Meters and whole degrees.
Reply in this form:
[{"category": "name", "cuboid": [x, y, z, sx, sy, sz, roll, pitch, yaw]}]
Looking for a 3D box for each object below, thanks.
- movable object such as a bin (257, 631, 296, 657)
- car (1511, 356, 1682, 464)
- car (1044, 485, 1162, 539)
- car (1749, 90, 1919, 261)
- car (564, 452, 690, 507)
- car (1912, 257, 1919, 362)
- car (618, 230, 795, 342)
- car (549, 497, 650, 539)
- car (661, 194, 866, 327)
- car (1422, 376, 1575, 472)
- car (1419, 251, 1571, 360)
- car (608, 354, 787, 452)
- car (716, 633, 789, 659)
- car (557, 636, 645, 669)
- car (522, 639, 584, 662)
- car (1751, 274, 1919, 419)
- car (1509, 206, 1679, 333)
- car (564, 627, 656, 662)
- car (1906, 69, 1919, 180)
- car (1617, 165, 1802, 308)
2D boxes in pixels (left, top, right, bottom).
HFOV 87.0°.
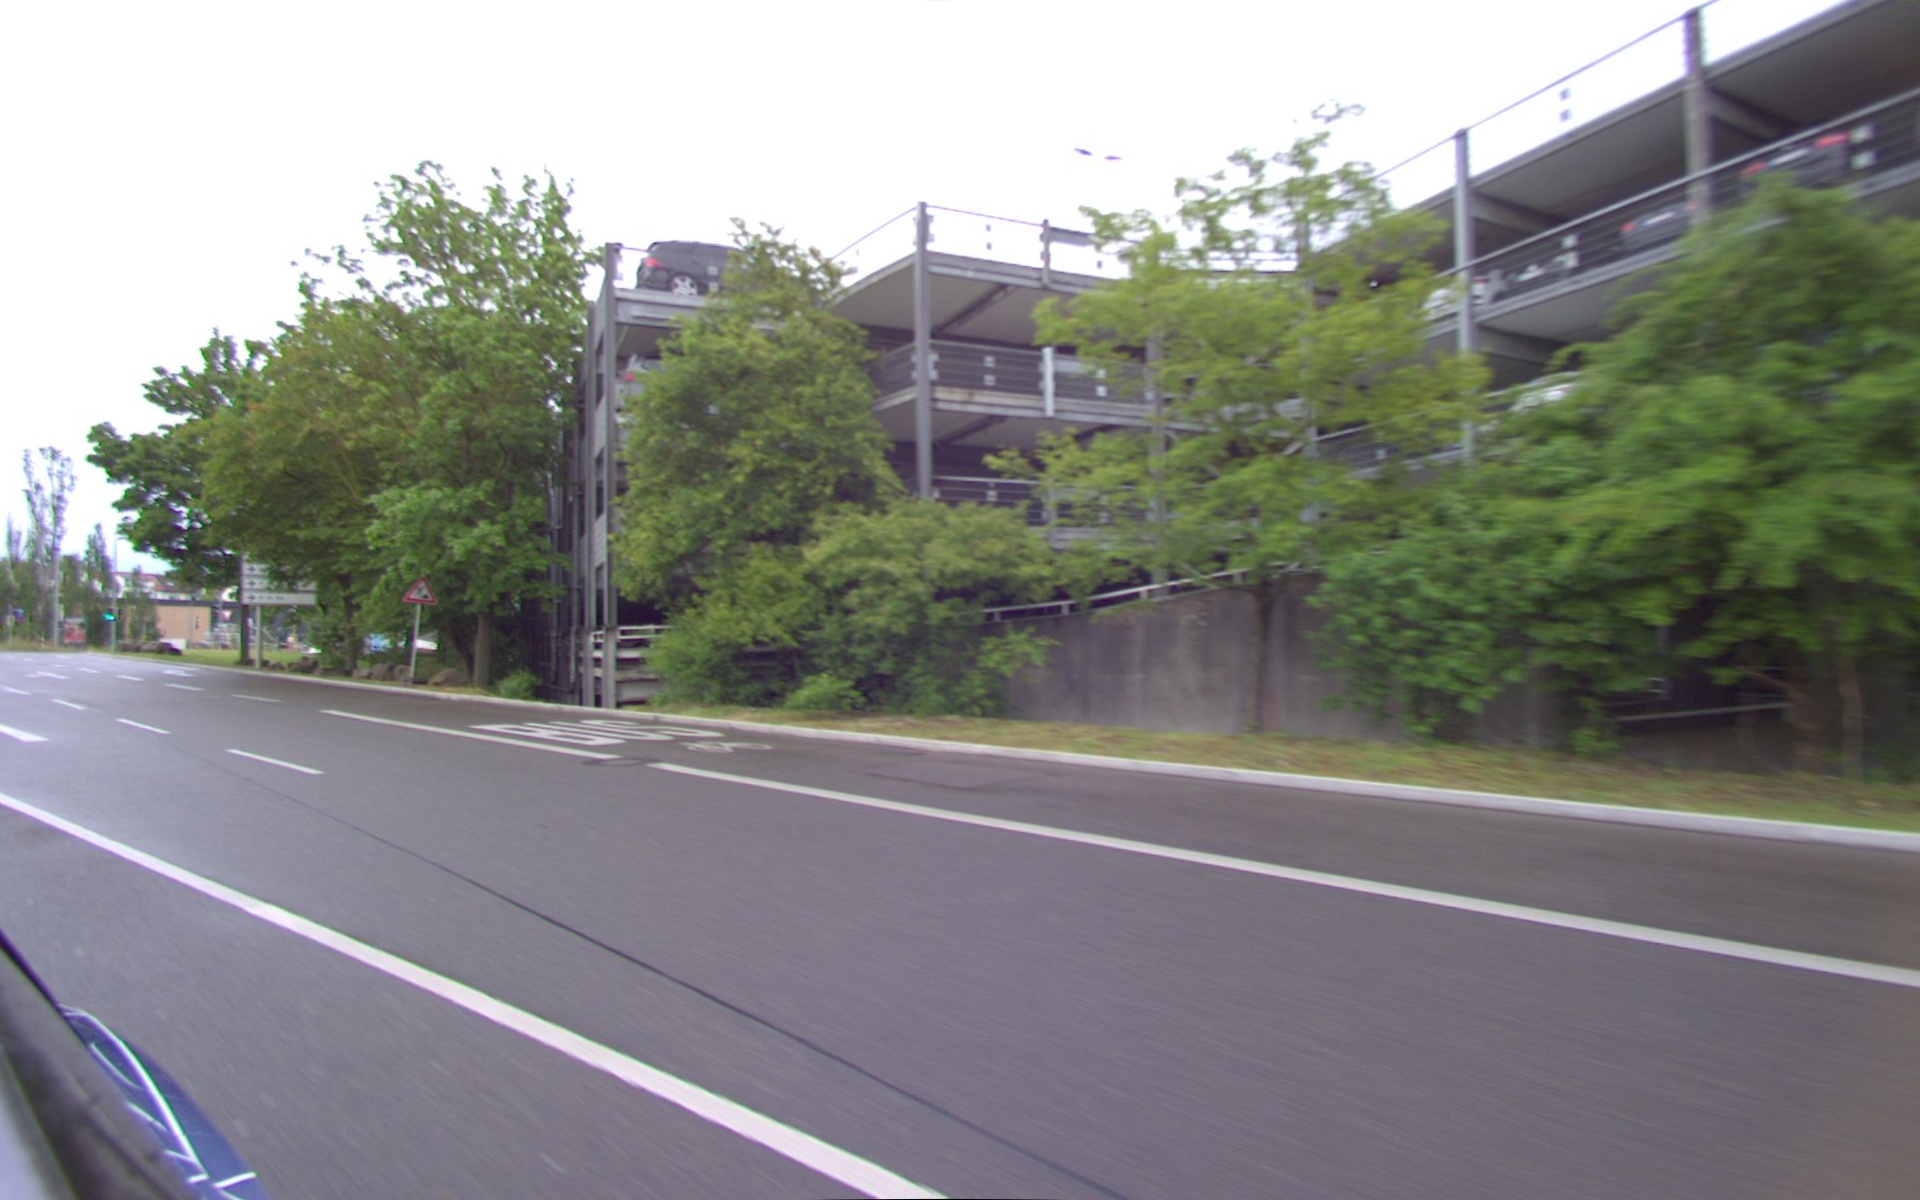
[{"category": "movable object such as a bin", "cuboid": [-74.747, 4.842, 110.718, 1.927, 2.647, 2.959, -3, -6, 40]}, {"category": "car", "cuboid": [13.113, -3.835, 20.853, 3.188, 1.530, 1.591, 3, -3, -28]}, {"category": "car", "cuboid": [5.373, -3.260, 38.009, 3.930, 1.530, 2.006, 2, -3, -24]}, {"category": "car", "cuboid": [15.070, -7.043, 17.072, 3.188, 1.530, 1.591, 3, -3, -28]}, {"category": "car", "cuboid": [-11.354, -4.053, 34.468, 3.931, 1.530, 2.006, -2, -2, -22]}, {"category": "car", "cuboid": [15.931, -4.276, 15.068, 3.188, 1.530, 1.591, 3, -3, -28]}, {"category": "car", "cuboid": [-6.227, -7.593, 24.772, 3.930, 1.530, 2.006, 2, -3, -21]}, {"category": "car", "cuboid": [-15.398, -3.485, 43.247, 3.931, 1.530, 2.006, -2, -2, -22]}, {"category": "car", "cuboid": [-4.200, -7.115, 21.514, 3.930, 1.530, 2.006, 2, -3, -21]}, {"category": "car", "cuboid": [12.403, -3.980, 23.299, 3.188, 1.530, 1.591, 3, -3, -28]}, {"category": "car", "cuboid": [12.411, -6.749, 23.464, 3.188, 1.530, 1.591, 3, -3, -28]}, {"category": "car", "cuboid": [-6.386, -4.702, 24.566, 3.930, 1.530, 2.006, 2, -3, -21]}, {"category": "car", "cuboid": [-12.747, 2.843, 62.168, 3.931, 1.530, 2.006, 3, -3, -28]}, {"category": "car", "cuboid": [-17.699, 2.573, 49.844, 3.930, 1.530, 2.006, 2, -3, -23]}, {"category": "car", "cuboid": [-28.188, 3.515, 70.125, 3.930, 1.530, 2.006, 2, -3, -22]}, {"category": "car", "cuboid": [14.946, -4.127, 16.863, 3.188, 1.530, 1.591, 3, -3, -28]}, {"category": "car", "cuboid": [13.104, -6.745, 20.912, 3.188, 1.530, 1.591, 3, -3, -28]}, {"category": "car", "cuboid": [-16.337, 2.076, 47.275, 3.930, 1.530, 2.006, 2, -3, -21]}, {"category": "car", "cuboid": [15.957, -7.089, 15.195, 3.188, 1.530, 1.591, 3, -3, -28]}, {"category": "car", "cuboid": [14.304, -6.835, 19.315, 3.188, 1.530, 1.591, 3, -3, -28]}]
